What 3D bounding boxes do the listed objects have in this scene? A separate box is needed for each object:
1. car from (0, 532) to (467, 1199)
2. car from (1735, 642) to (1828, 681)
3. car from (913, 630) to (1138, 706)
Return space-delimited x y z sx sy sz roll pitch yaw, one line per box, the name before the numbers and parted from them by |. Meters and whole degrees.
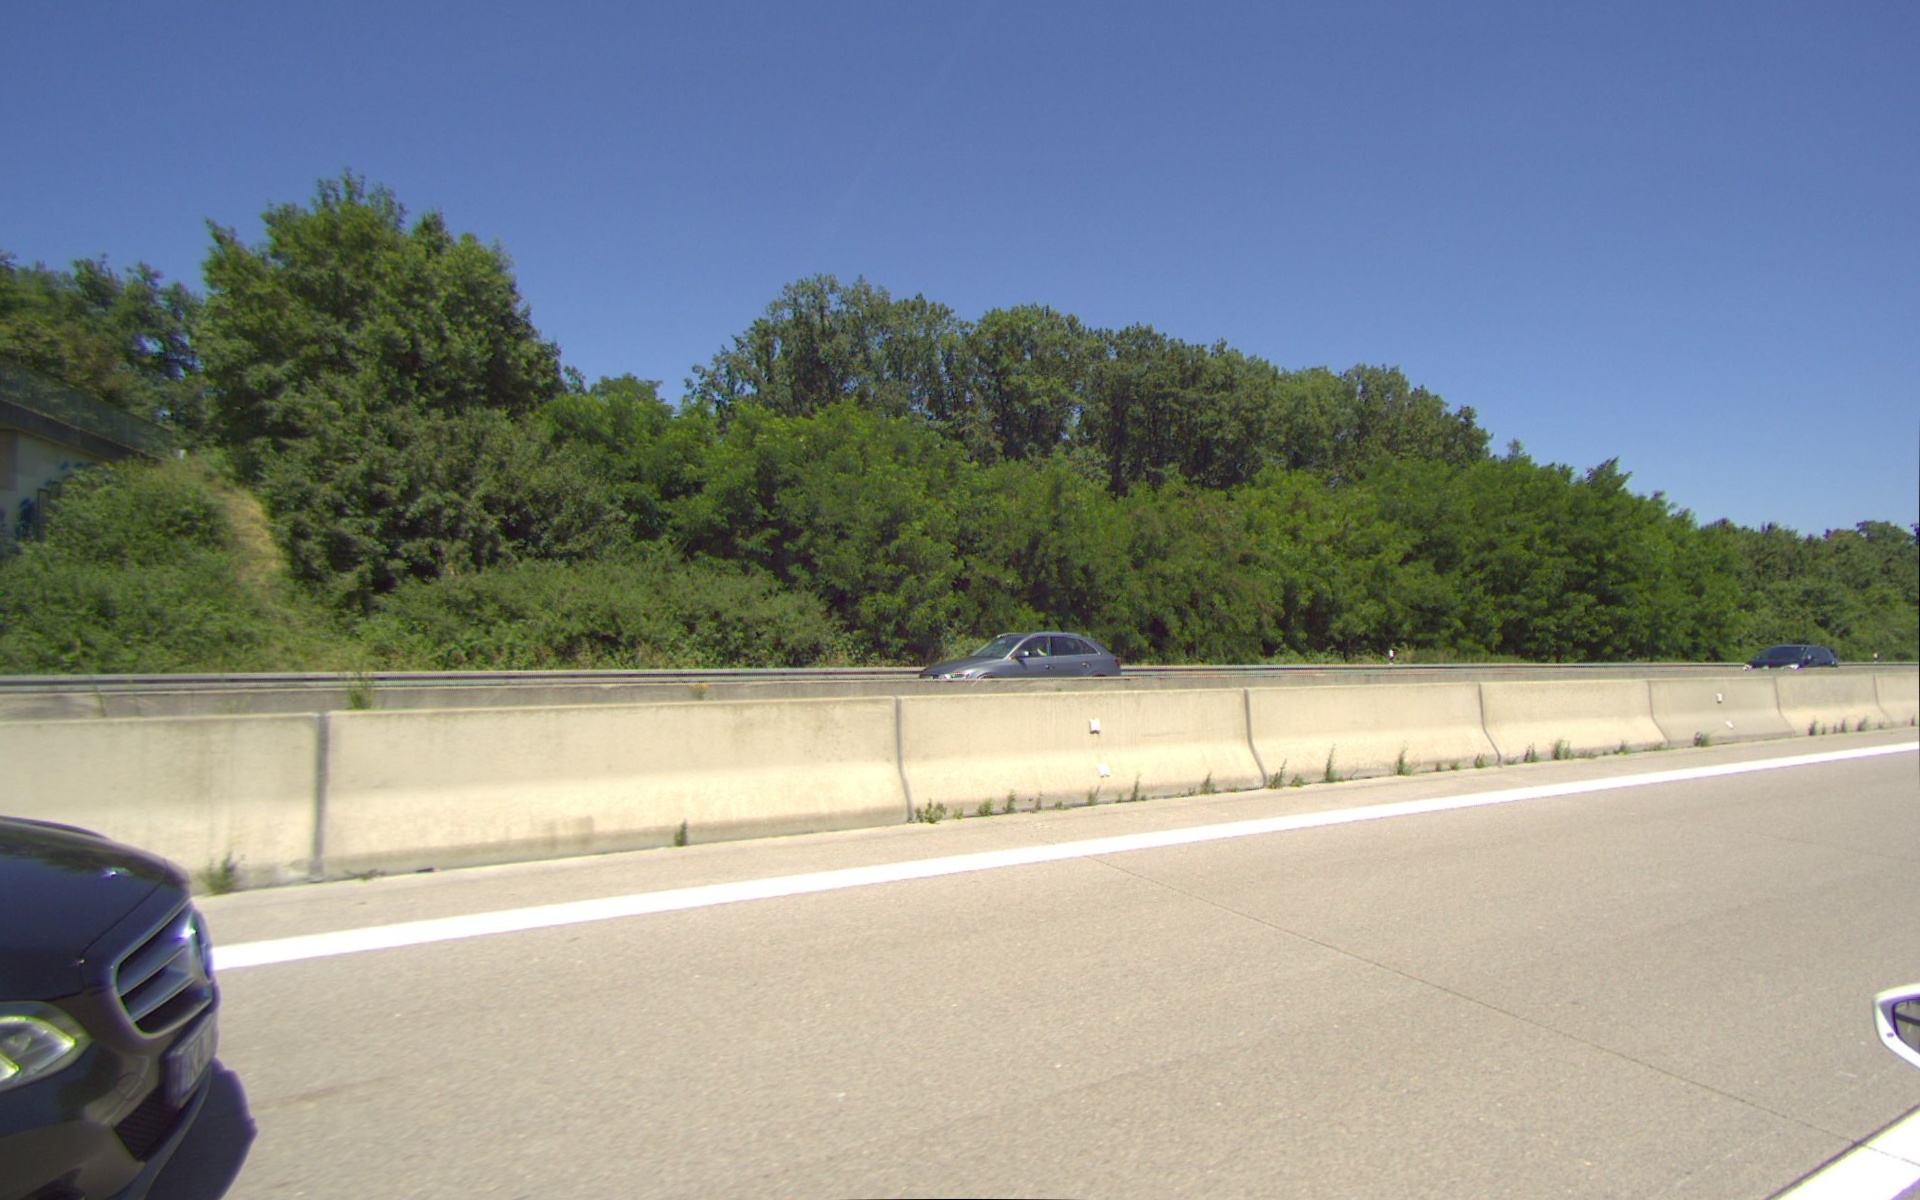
car | -3.787 0.607 1.304 5.538 1.493 1.882 1 -1 -30
car | 30.096 2.216 36.774 3.591 1.336 1.557 2 -2 -31
car | 1.345 1.293 19.810 4.322 1.336 1.558 2 -2 -31
